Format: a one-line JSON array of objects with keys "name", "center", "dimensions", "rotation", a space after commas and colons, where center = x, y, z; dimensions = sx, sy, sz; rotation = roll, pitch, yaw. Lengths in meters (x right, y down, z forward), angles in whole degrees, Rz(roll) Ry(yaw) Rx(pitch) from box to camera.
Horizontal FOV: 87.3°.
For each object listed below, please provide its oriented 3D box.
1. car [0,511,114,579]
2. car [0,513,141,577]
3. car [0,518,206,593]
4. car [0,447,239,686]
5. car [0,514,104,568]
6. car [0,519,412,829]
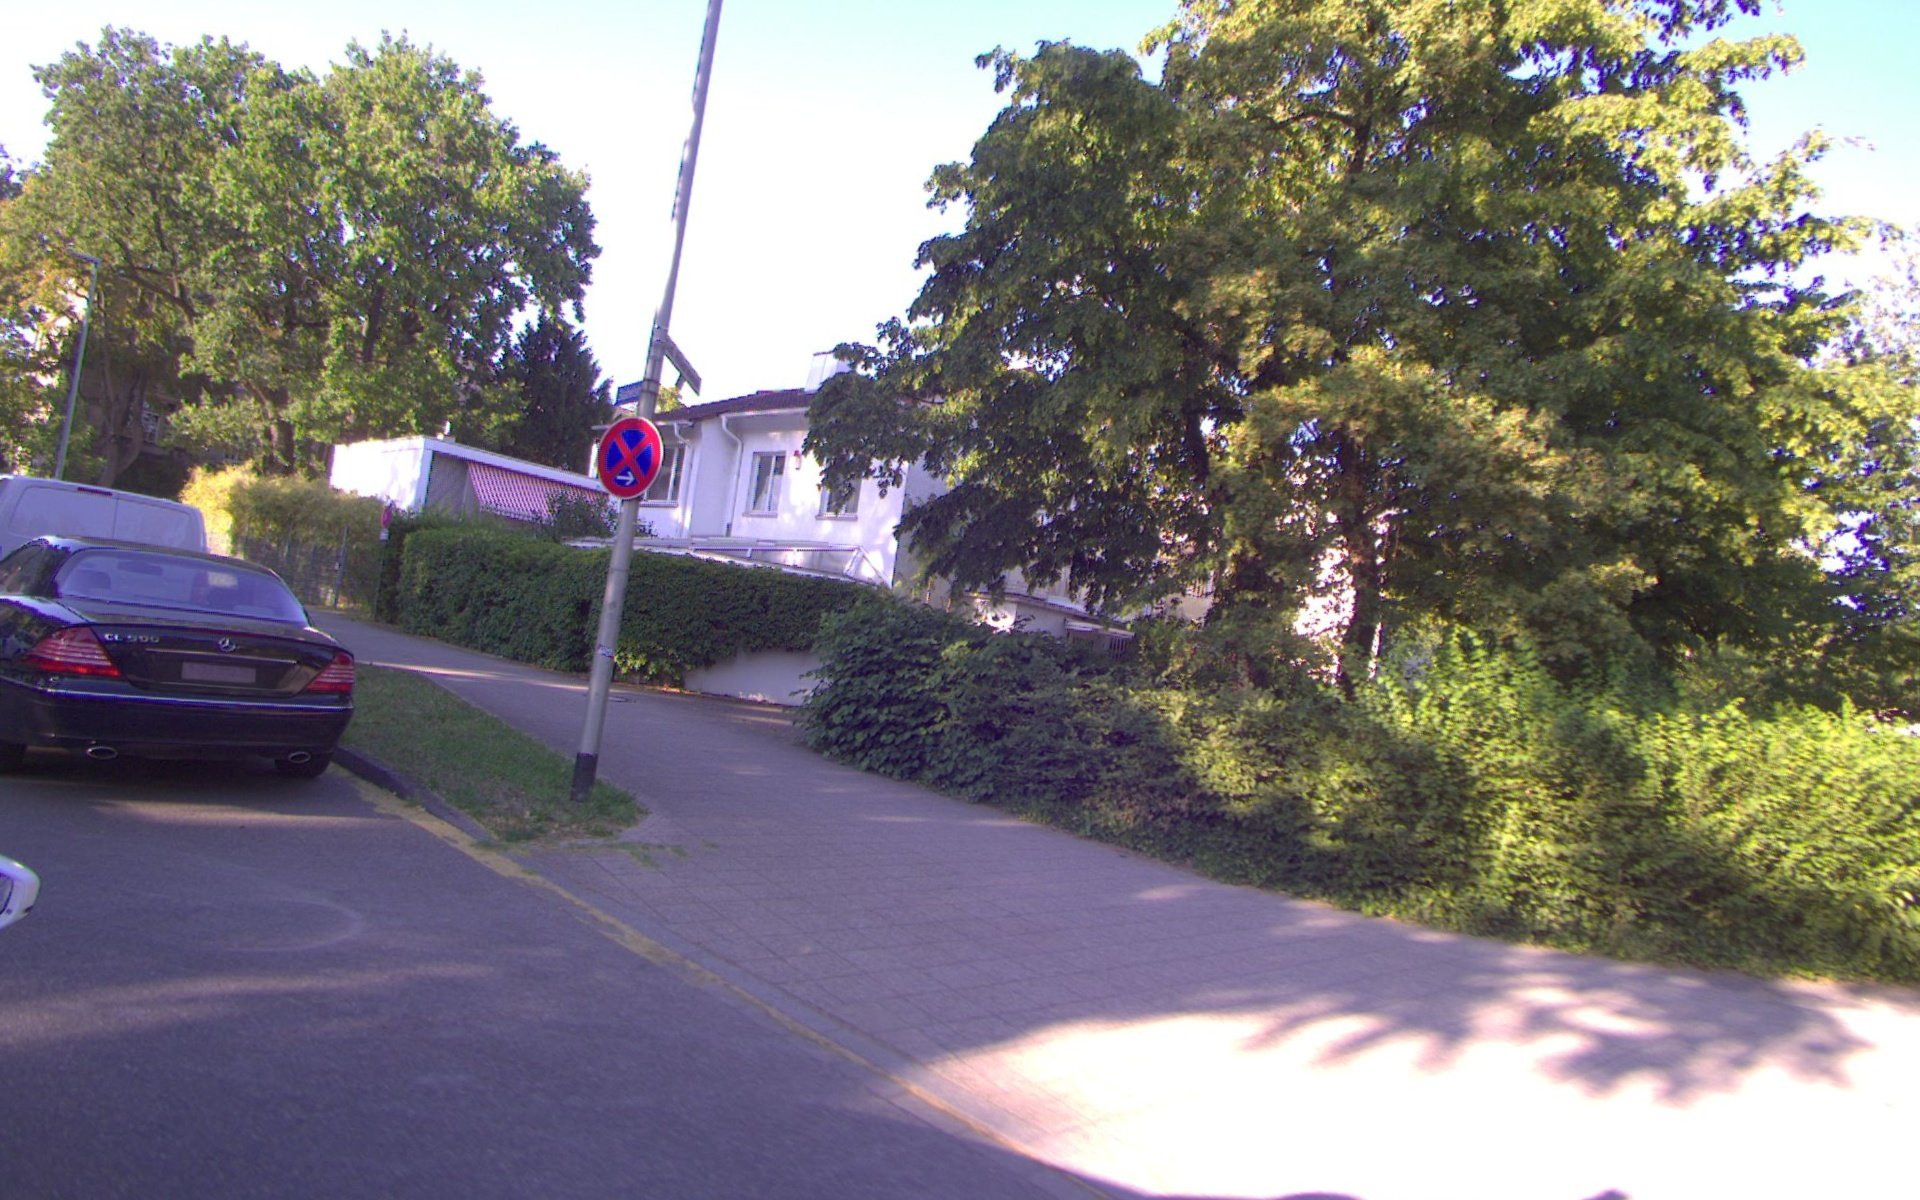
[{"name": "car", "center": [-28.024, -1.751, 30.196], "dimensions": [1.733, 1.601, 3.503], "rotation": [7, -3, 31]}, {"name": "car", "center": [-31.820, -1.985, 35.190], "dimensions": [1.863, 1.566, 4.495], "rotation": [6, -4, 38]}, {"name": "car", "center": [-23.893, -1.213, 27.753], "dimensions": [1.897, 1.431, 4.583], "rotation": [4, -3, 42]}, {"name": "car", "center": [-10.175, -0.449, 11.331], "dimensions": [5.080, 2.035, 1.953], "rotation": [6, -3, 40]}, {"name": "car", "center": [-35.530, -2.299, 38.475], "dimensions": [1.849, 1.532, 3.951], "rotation": [3, -5, 42]}, {"name": "car", "center": [-5.915, 0.324, 7.181], "dimensions": [4.796, 1.484, 1.766], "rotation": [6, -4, 40]}]
